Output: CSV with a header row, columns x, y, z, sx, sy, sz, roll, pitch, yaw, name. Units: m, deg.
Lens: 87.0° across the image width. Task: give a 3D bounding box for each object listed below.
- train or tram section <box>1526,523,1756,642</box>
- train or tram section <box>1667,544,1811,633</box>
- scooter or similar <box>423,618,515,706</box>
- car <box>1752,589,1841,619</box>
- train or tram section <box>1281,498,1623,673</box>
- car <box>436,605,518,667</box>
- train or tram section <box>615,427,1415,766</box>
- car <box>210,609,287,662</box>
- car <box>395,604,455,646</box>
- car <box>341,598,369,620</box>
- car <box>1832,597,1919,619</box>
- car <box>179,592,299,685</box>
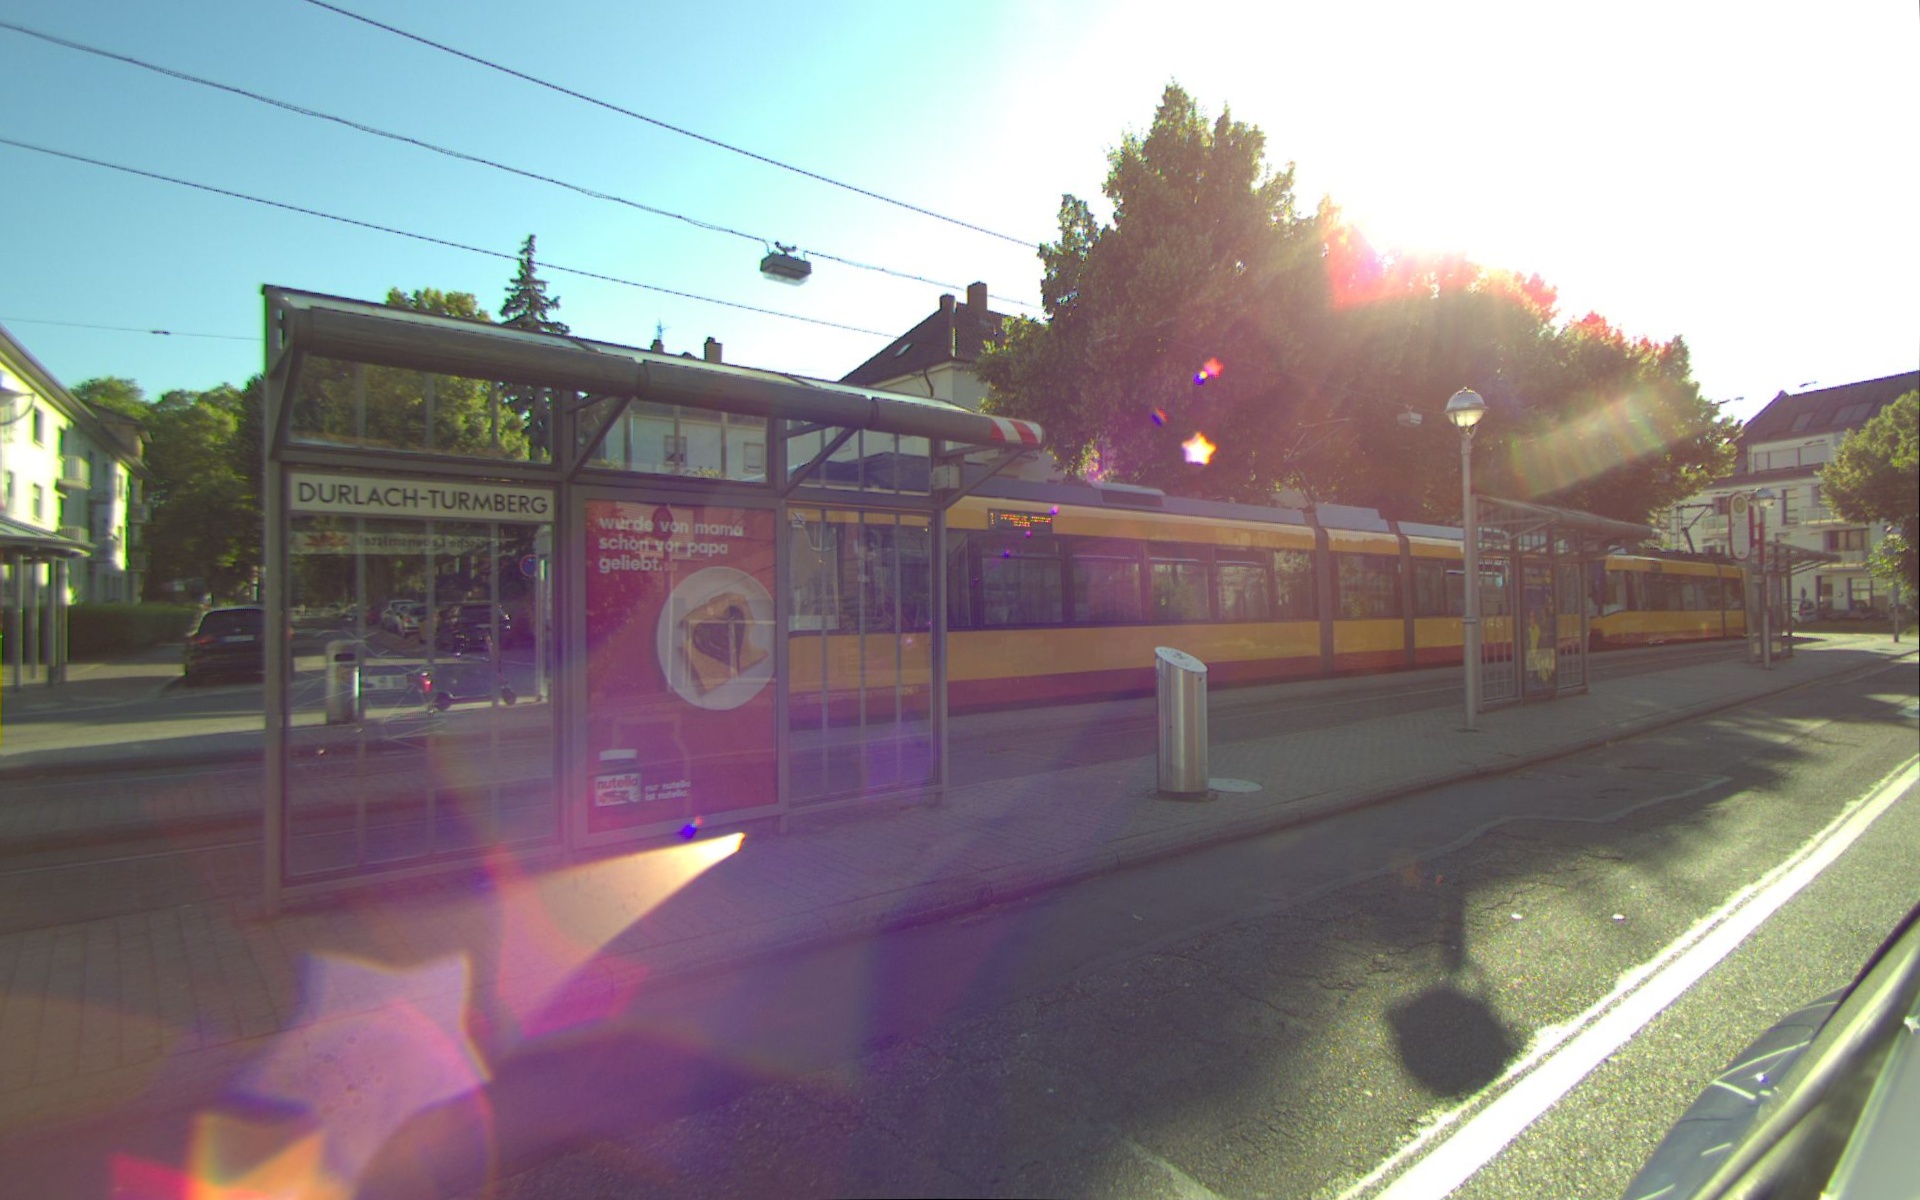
x,y,z,sx,sy,sz,roll,pitch,yaw,name
24.535,-0.485,35.746,15.663,3.465,2.962,0,0,-42,train or tram section
35.125,-0.437,45.322,13.234,3.465,2.961,0,0,-43,train or tram section
-7.154,0.878,14.764,1.184,1.223,0.468,0,-1,-29,scooter or similar
57.760,0.258,69.964,1.958,1.981,4.281,0,0,-21,car
13.270,-0.423,26.175,13.228,3.578,2.963,-1,1,-41,train or tram section
-16.163,1.144,33.752,1.961,1.837,4.002,-1,1,-33,car
2.493,-0.185,16.918,15.691,3.578,2.962,-1,1,-41,train or tram section
-21.395,1.012,30.550,1.759,1.406,3.812,-1,1,-33,car
-23.478,1.050,44.339,1.961,1.618,4.002,-1,1,-33,car
-52.259,0.766,87.402,1.961,1.734,4.002,-1,1,-33,car
58.990,0.547,64.994,1.895,1.364,4.133,-1,-1,-13,car
-15.818,0.747,22.227,1.962,1.791,4.452,0,1,-36,car
